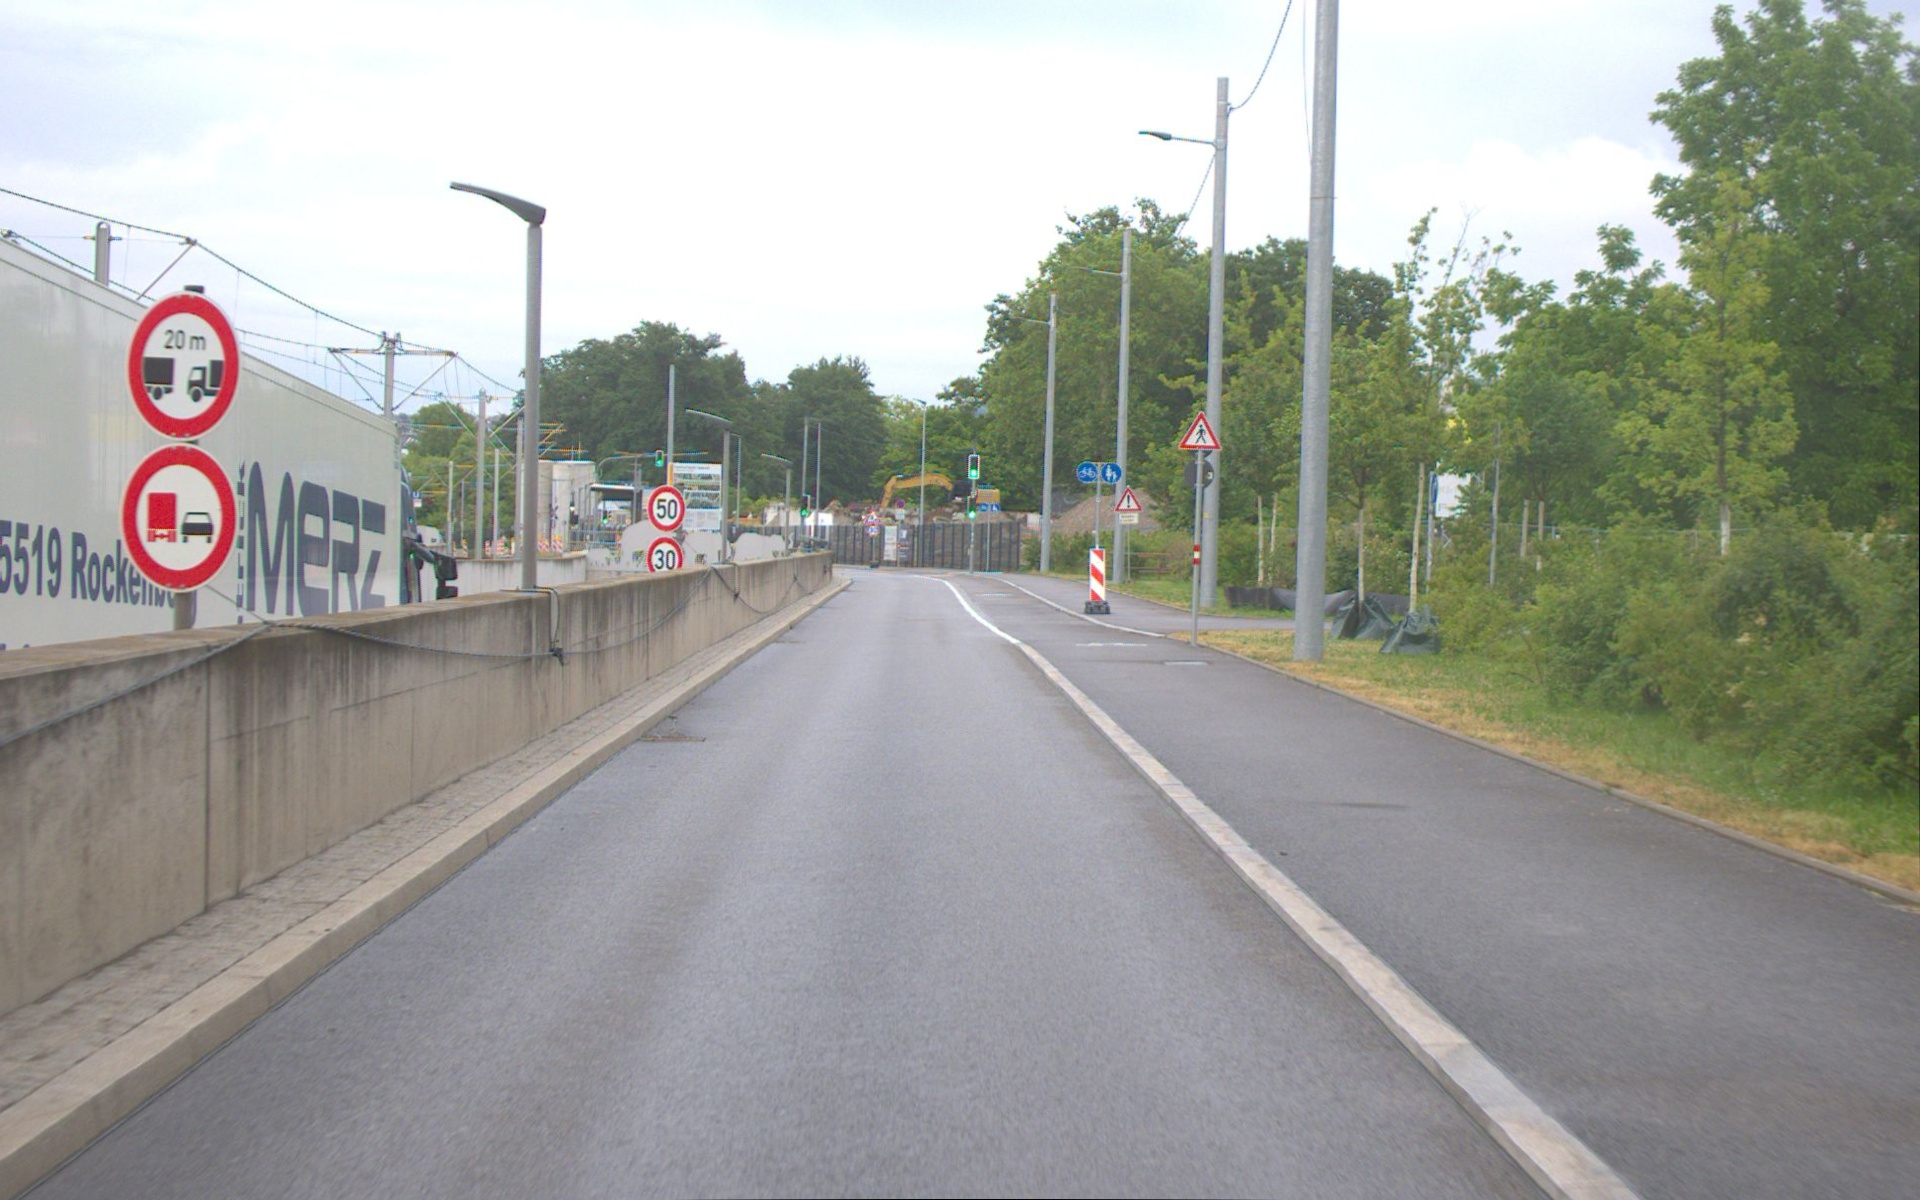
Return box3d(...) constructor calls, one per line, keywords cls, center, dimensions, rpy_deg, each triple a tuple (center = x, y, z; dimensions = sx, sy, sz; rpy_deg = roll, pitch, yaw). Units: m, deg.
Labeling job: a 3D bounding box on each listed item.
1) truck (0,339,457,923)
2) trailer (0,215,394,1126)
box3d(cls="truck", center=(-5.890, 0.171, 27.799), dimensions=(2.756, 4.190, 6.307), rpy_deg=(0, 1, 0))
box3d(cls="trailer", center=(-5.877, 0.243, 20.898), dimensions=(2.762, 4.238, 13.184), rpy_deg=(0, 1, 0))
